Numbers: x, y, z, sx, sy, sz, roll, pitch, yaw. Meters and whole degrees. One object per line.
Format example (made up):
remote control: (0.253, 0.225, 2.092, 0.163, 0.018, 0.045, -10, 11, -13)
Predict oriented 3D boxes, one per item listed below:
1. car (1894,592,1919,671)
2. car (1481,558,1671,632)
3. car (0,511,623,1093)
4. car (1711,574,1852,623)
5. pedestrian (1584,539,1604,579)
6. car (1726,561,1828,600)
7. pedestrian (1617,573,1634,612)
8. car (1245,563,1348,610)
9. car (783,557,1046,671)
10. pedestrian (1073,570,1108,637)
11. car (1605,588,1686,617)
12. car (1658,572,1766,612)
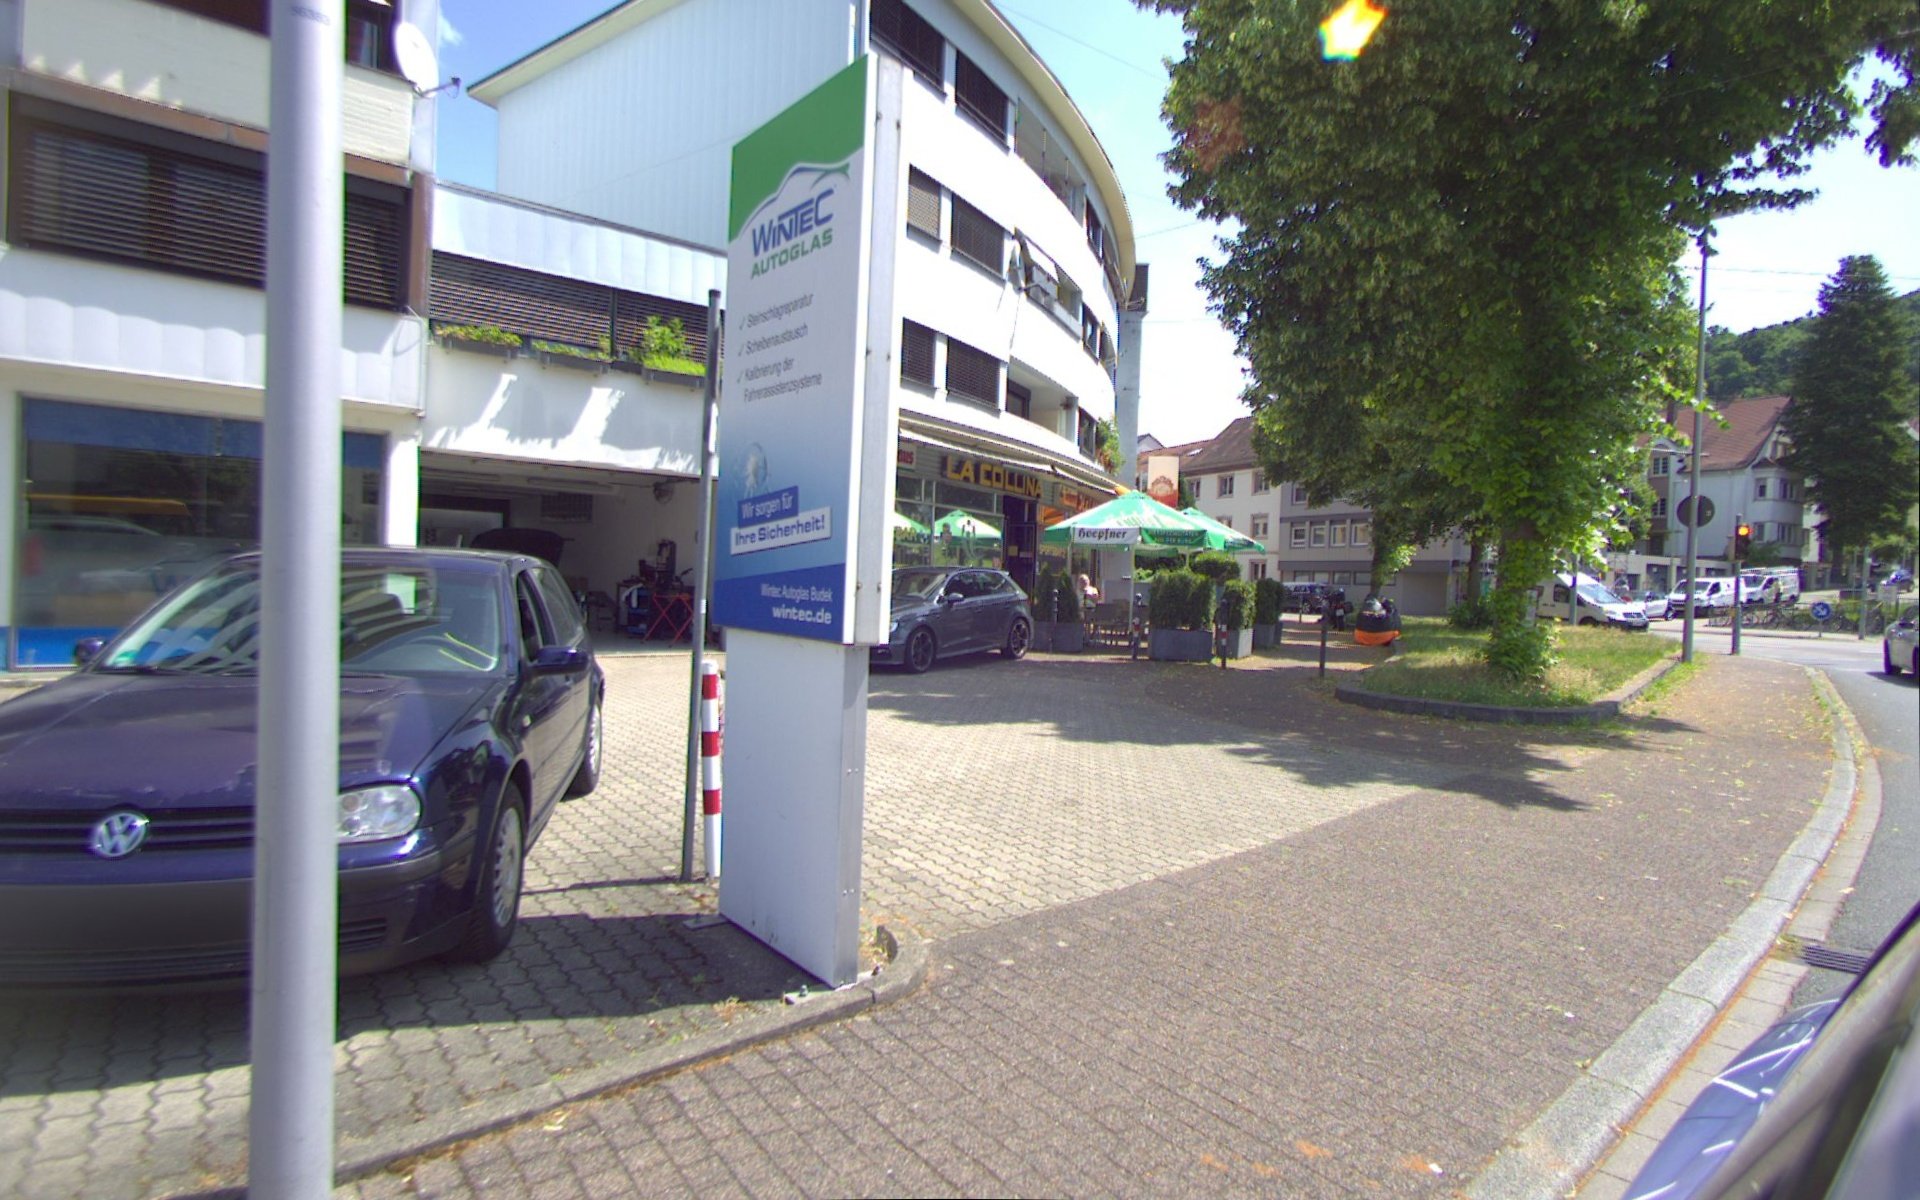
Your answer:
car: (18.208, 0.580, 18.020, 1.809, 1.396, 4.335, 1, 1, 36)
car: (20.511, -0.185, 34.030, 1.958, 2.300, 5.456, -1, 0, -19)
car: (-2.580, 0.416, 4.491, 1.664, 1.446, 3.983, 1, 2, -13)
car: (36.207, -0.106, 44.573, 6.242, 2.039, 2.406, -1, 0, -26)
pedestrian: (32.327, -2.094, 51.603, 0.691, 2.039, 0.626, 0, 0, -29)
car: (45.358, -1.077, 56.207, 5.271, 2.039, 2.406, -1, 0, -26)
pedestrian: (35.588, -0.402, 54.131, 0.700, 2.039, 0.618, 0, 0, 33)
car: (18.421, -0.733, 55.756, 2.211, 2.440, 5.453, -1, 0, -26)
car: (-0.499, 0.133, 14.807, 1.701, 1.417, 4.233, 1, 1, 33)
pedestrian: (2.563, 0.058, 19.905, 0.565, 1.286, 0.607, 0, 0, -4)
car: (34.361, 0.095, 50.728, 4.071, 1.386, 1.534, -1, 0, -26)
car: (39.542, -0.443, 53.235, 5.271, 2.039, 2.406, -1, 0, -26)
